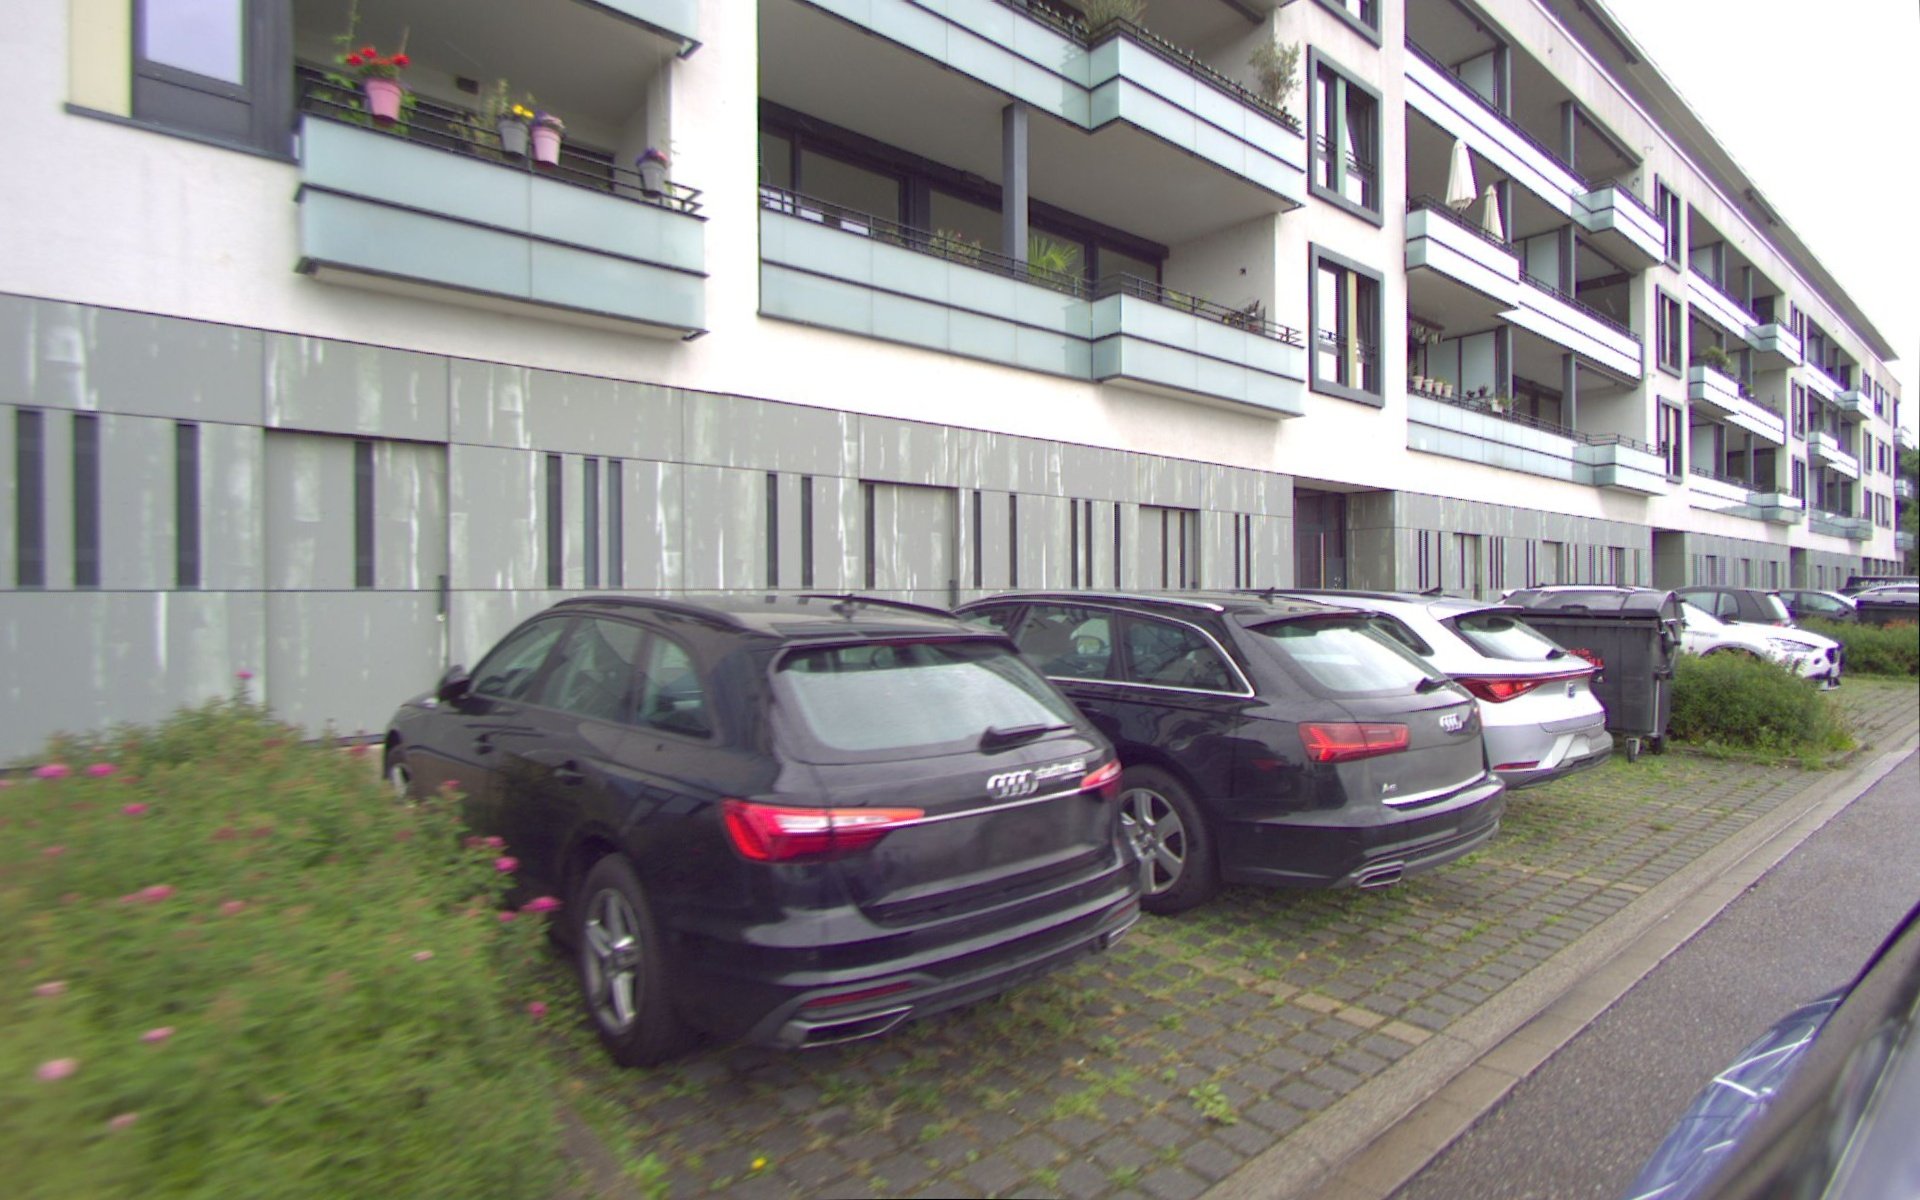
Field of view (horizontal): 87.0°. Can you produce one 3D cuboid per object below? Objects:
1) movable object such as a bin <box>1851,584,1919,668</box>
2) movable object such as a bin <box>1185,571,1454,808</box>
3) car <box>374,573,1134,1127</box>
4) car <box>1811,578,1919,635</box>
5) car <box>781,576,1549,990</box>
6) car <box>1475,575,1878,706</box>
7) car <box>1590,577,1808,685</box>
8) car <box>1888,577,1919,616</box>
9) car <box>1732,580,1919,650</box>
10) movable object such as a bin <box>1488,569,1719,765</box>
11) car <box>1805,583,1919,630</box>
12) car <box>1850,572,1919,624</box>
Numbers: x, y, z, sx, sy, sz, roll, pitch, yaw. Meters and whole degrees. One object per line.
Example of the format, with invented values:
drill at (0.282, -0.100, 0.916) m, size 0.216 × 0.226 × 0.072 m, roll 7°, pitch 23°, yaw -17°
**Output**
movable object such as a bin at (17.991, 0.485, 19.158) m, size 1.135 × 1.511 × 1.499 m, roll 0°, pitch 2°, yaw -40°
movable object such as a bin at (2.703, 0.566, 7.616) m, size 1.554 × 1.545 × 1.303 m, roll 0°, pitch 1°, yaw -41°
car at (-1.322, 0.637, 4.857) m, size 1.846 × 1.498 × 3.993 m, roll 0°, pitch 1°, yaw -41°
car at (28.408, 0.176, 30.350) m, size 1.658 × 1.664 × 4.214 m, roll -1°, pitch 1°, yaw -41°
car at (0.857, 0.631, 5.943) m, size 2.021 × 1.515 × 4.069 m, roll 0°, pitch 1°, yaw -40°
car at (10.094, 0.446, 14.635) m, size 1.856 × 1.549 × 4.363 m, roll 0°, pitch 2°, yaw -33°
car at (11.589, 0.427, 15.941) m, size 2.624 × 1.525 × 1.188 m, roll 2°, pitch 2°, yaw 44°
car at (41.788, -0.106, 42.055) m, size 2.043 × 1.621 × 4.433 m, roll 0°, pitch 2°, yaw -36°
car at (21.089, 0.314, 24.230) m, size 1.731 × 1.509 × 3.854 m, roll 0°, pitch 1°, yaw -39°
movable object such as a bin at (5.714, 0.534, 8.987) m, size 1.554 × 1.546 × 1.302 m, roll 0°, pitch -1°, yaw -41°
car at (31.755, 0.198, 34.657) m, size 1.721 × 1.501 × 4.180 m, roll -1°, pitch 2°, yaw -44°
car at (37.670, -0.055, 38.842) m, size 1.947 × 1.953 × 5.060 m, roll 0°, pitch 2°, yaw -40°
